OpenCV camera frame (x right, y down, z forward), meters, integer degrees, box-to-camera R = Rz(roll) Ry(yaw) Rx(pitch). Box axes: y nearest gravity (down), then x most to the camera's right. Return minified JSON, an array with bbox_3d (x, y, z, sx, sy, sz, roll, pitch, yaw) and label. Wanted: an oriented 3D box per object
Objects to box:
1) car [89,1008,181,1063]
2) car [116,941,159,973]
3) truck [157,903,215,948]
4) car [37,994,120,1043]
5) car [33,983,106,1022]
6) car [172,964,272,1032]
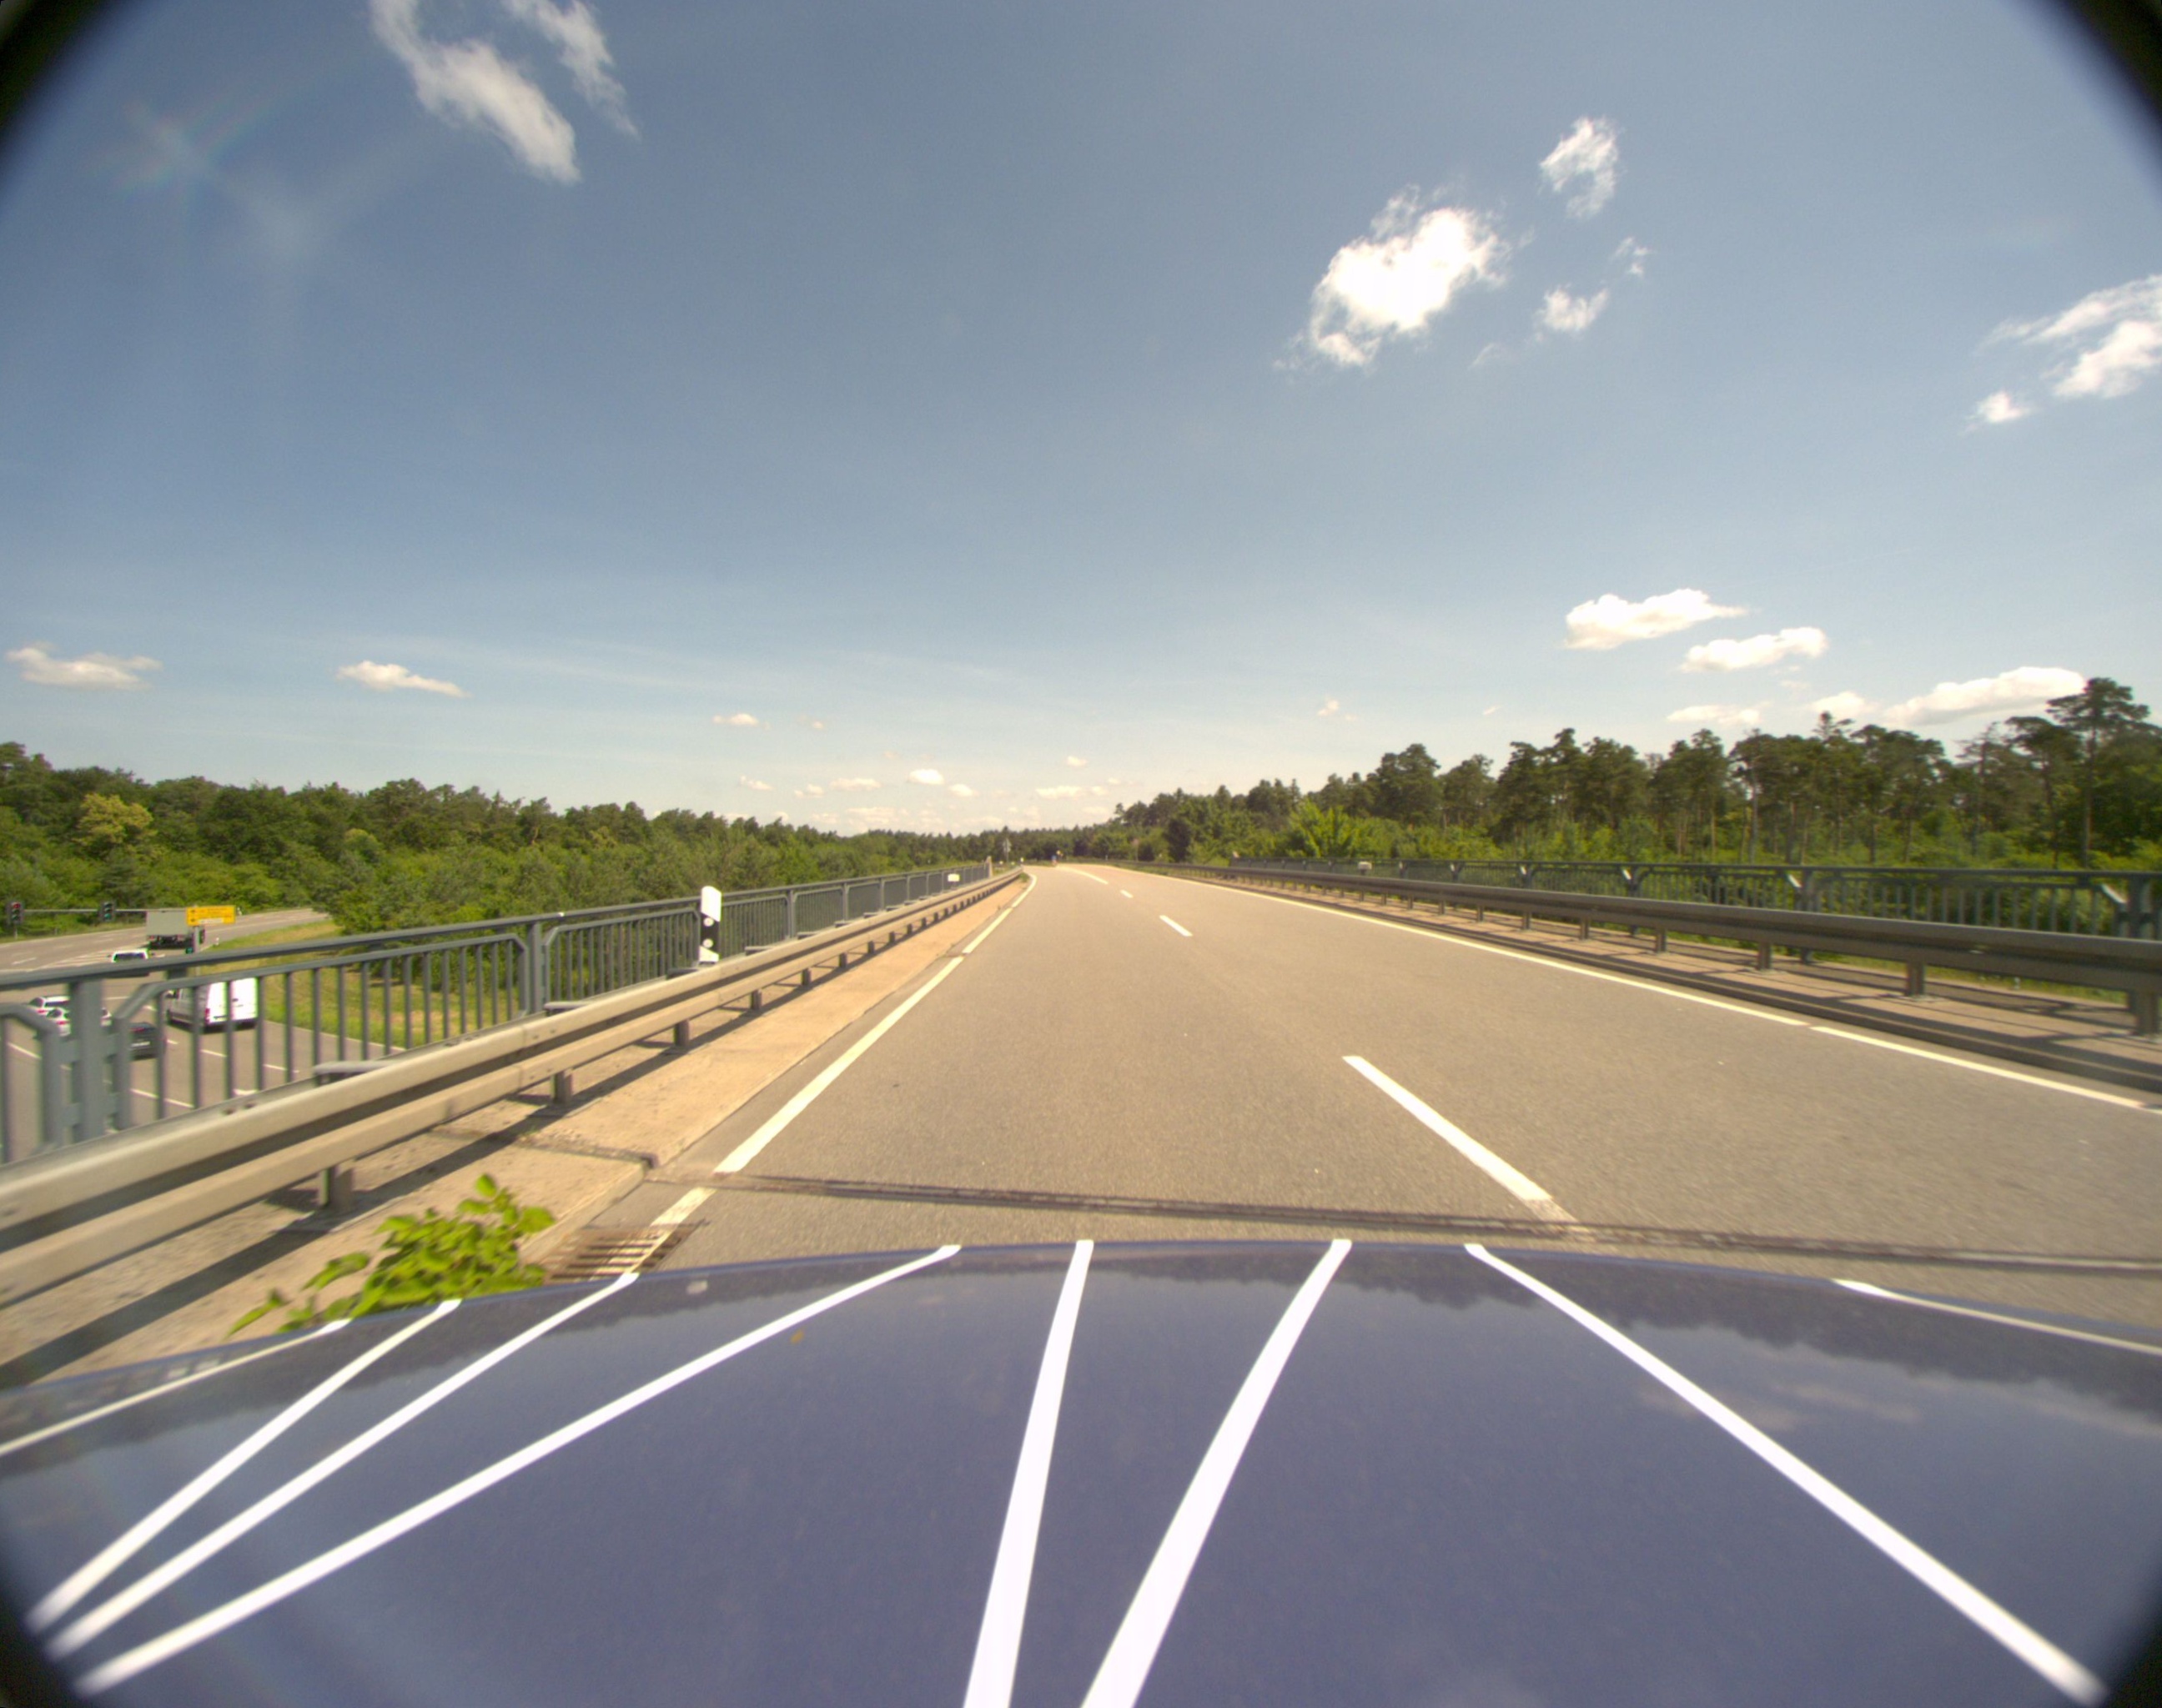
[{"bbox_3d":[-41.391,7.861,33.229,4.356,1.622,1.762,0,-2,29],"label":"car"},{"bbox_3d":[-70.827,7.679,57.058,5.220,1.952,1.911,-1,-3,39],"label":"car"},{"bbox_3d":[-88.101,6.972,74.932,2.297,3.698,8.998,1,-1,-41],"label":"truck"},{"bbox_3d":[-47.694,7.773,36.144,4.122,1.622,1.762,0,-2,29],"label":"car"},{"bbox_3d":[-53.974,7.882,40.517,4.385,1.432,1.705,0,-2,29],"label":"car"},{"bbox_3d":[-44.962,7.447,39.743,6.335,2.635,2.040,1,0,28],"label":"car"}]
